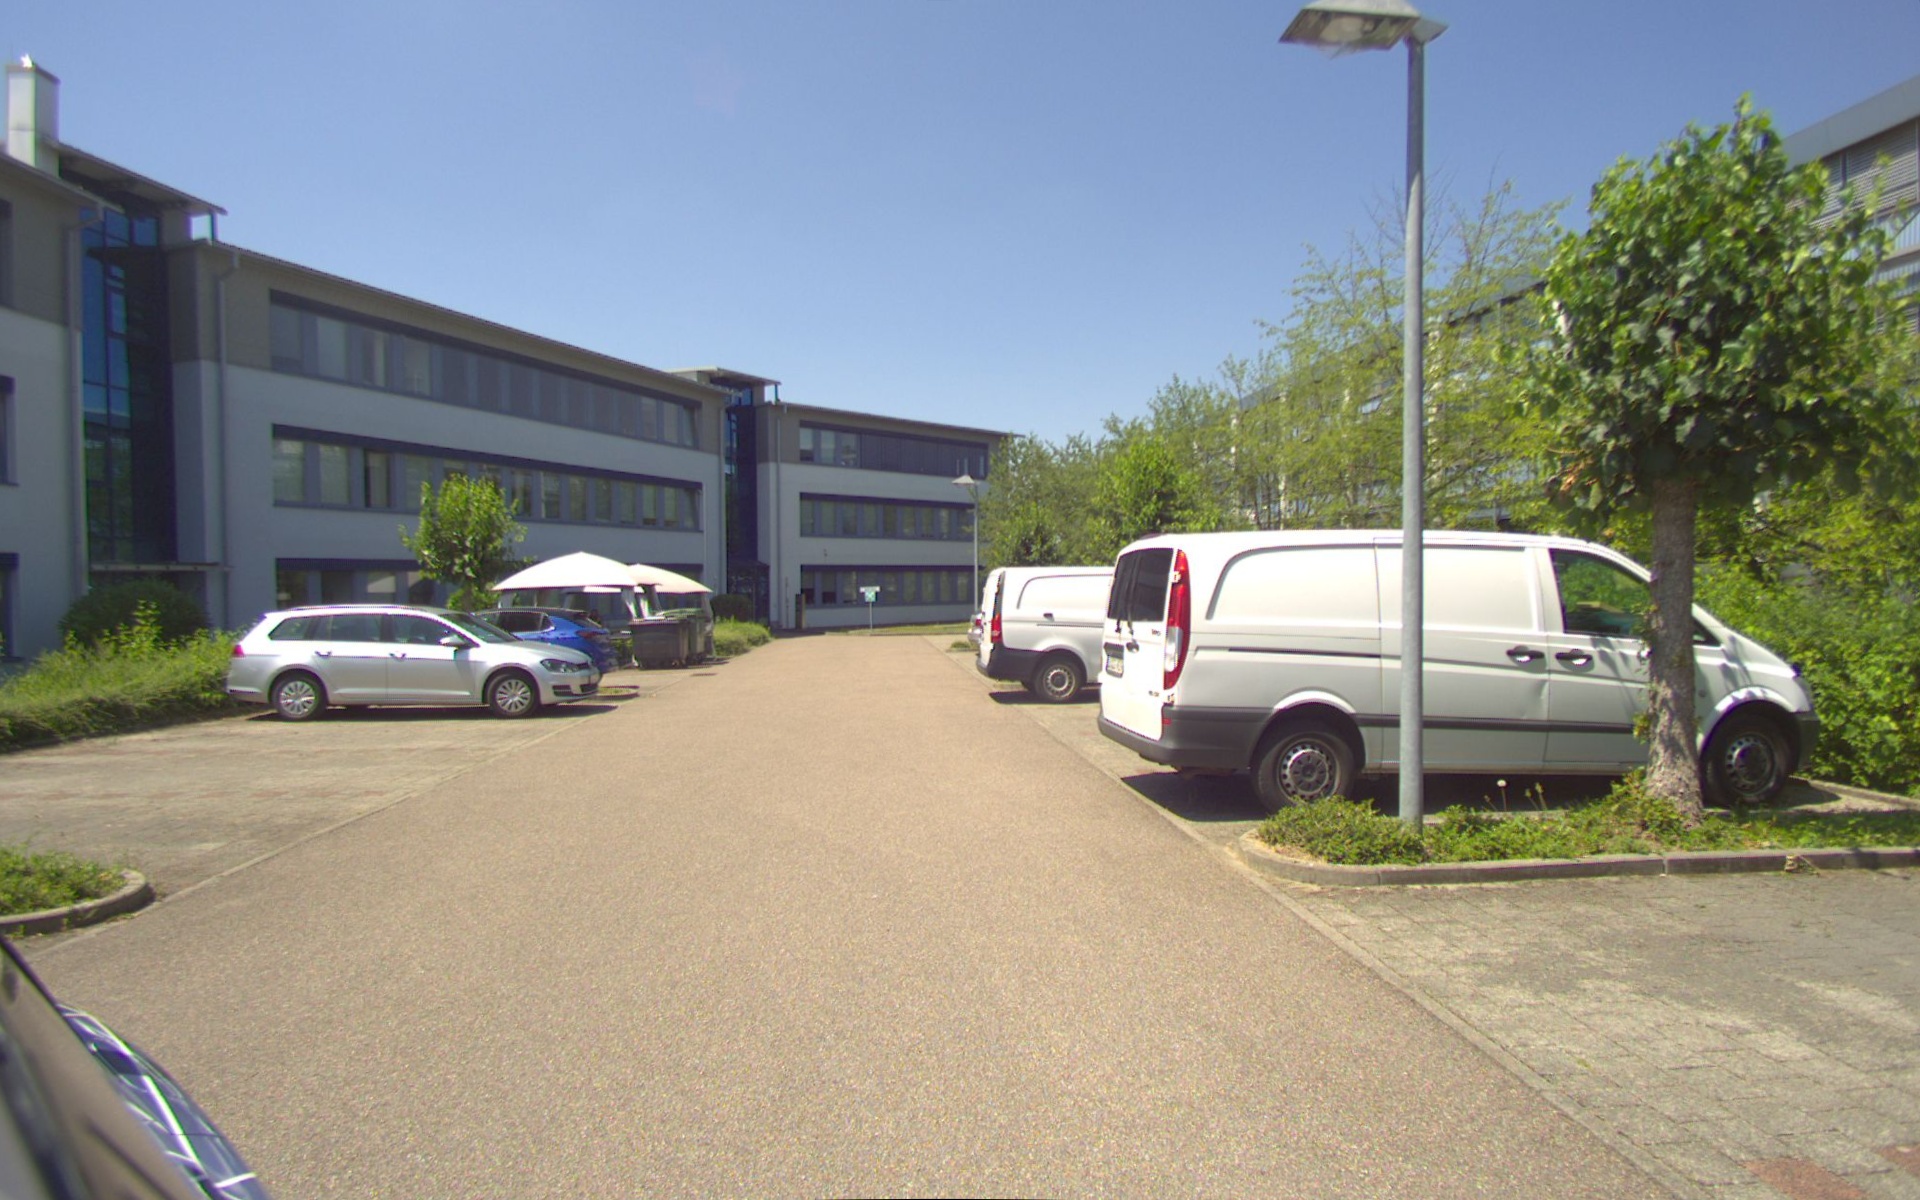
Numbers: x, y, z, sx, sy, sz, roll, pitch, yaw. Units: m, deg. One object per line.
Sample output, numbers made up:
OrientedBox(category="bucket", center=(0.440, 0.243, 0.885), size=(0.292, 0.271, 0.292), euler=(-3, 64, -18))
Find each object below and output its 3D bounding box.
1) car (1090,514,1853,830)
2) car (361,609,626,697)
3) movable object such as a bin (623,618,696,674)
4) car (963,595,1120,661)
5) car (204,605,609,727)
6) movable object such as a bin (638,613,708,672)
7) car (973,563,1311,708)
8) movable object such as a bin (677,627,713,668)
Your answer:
OrientedBox(category="car", center=(3.468, 0.420, 7.360), size=(4.662, 1.920, 1.832), euler=(-1, 0, -6))
OrientedBox(category="car", center=(-7.816, 0.877, 17.247), size=(3.768, 1.402, 1.654), euler=(1, 0, -6))
OrientedBox(category="movable object such as a bin", center=(-6.718, 1.017, 22.719), size=(1.345, 1.198, 0.997), euler=(-1, 0, 0))
OrientedBox(category="car", center=(2.023, 0.685, 25.744), size=(3.707, 1.569, 1.663), euler=(-1, 0, -6))
OrientedBox(category="car", center=(-7.255, 0.836, 13.691), size=(4.450, 1.508, 1.832), euler=(0, 0, -6))
OrientedBox(category="movable object such as a bin", center=(-6.716, 0.982, 23.778), size=(1.345, 1.306, 1.043), euler=(-1, 0, 0))
OrientedBox(category="car", center=(2.530, 0.464, 14.690), size=(4.450, 1.896, 1.832), euler=(-1, 0, -6))
OrientedBox(category="movable object such as a bin", center=(-6.474, 1.147, 24.733), size=(0.681, 0.956, 0.722), euler=(-1, 0, 0))
